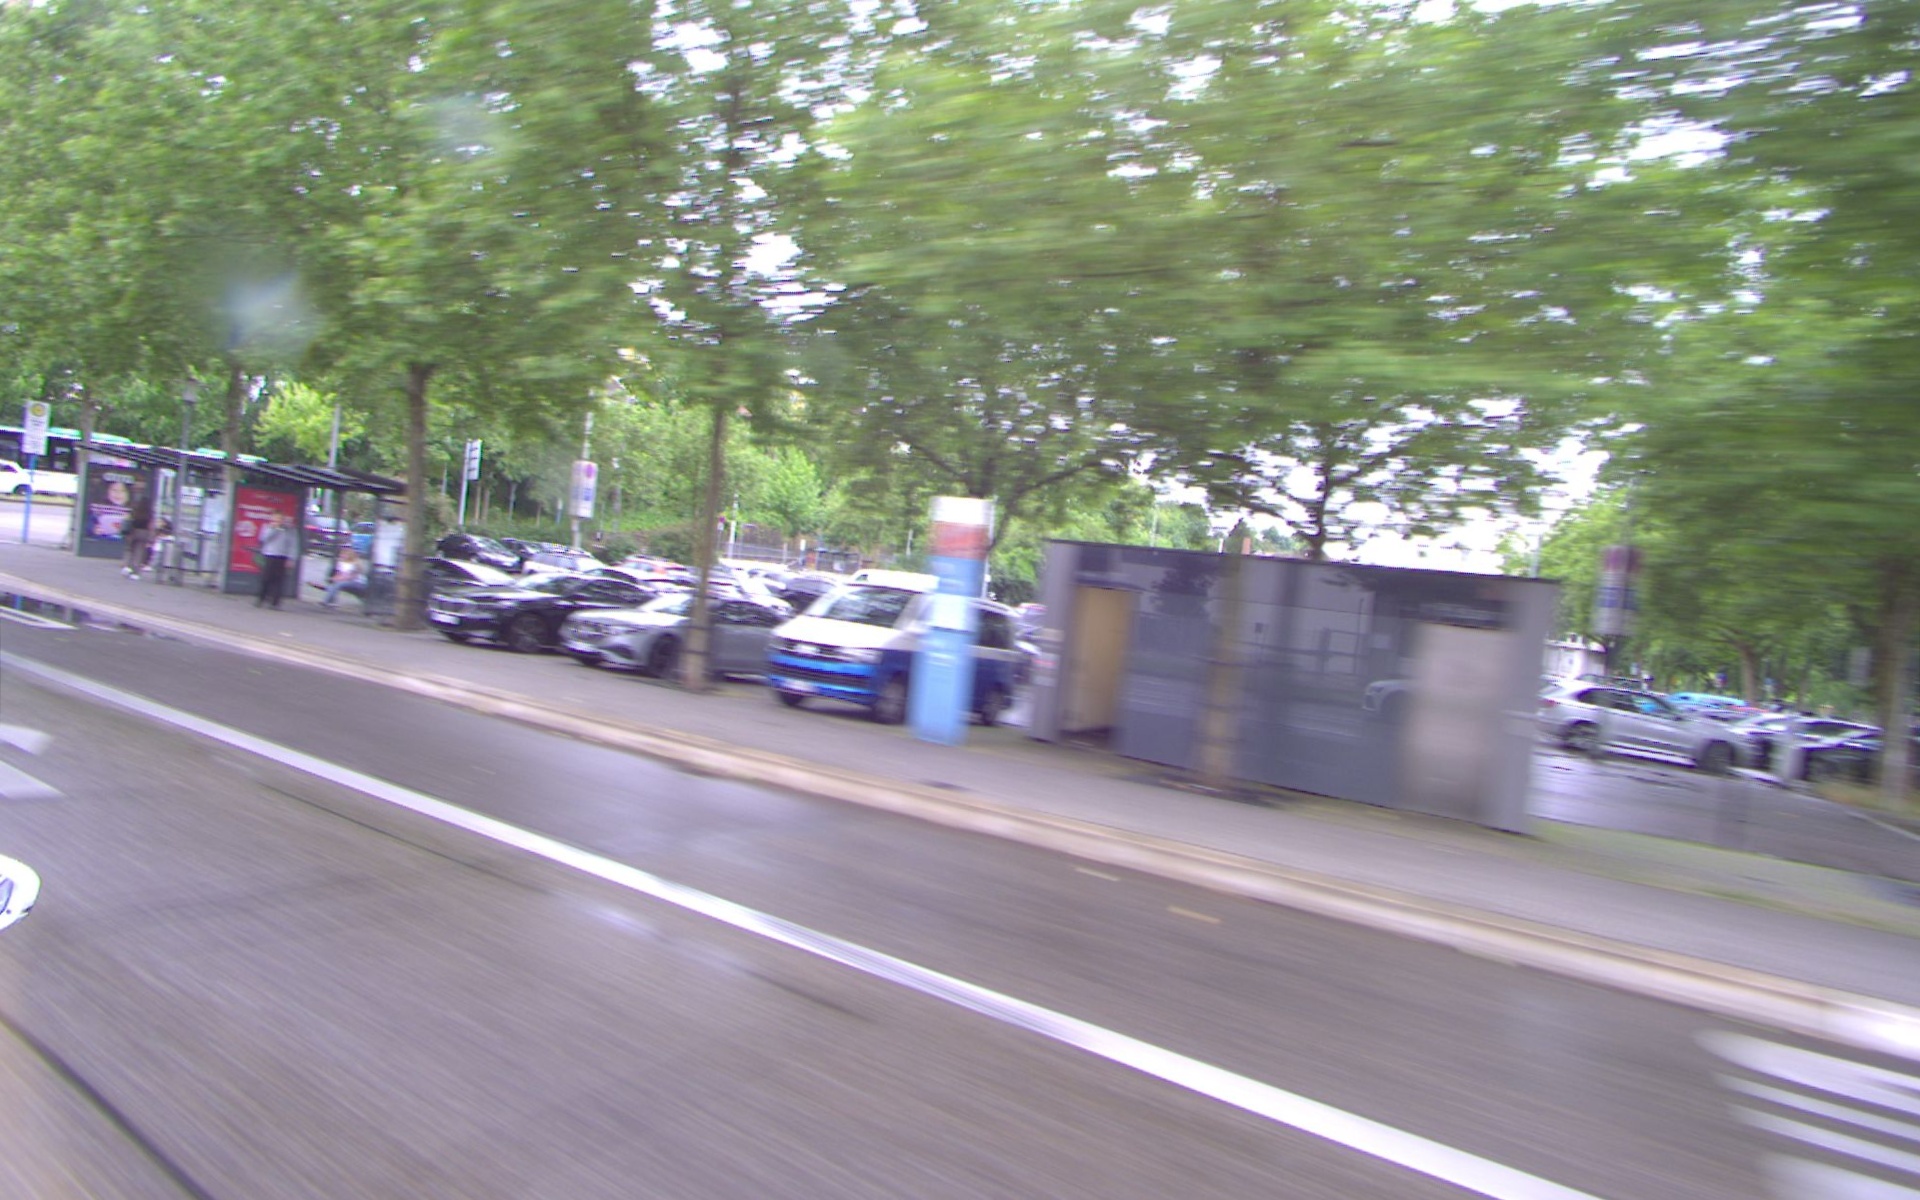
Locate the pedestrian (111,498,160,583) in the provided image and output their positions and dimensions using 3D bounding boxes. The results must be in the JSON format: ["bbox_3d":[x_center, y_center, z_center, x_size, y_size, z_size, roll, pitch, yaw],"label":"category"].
[{"bbox_3d":[-17.360,-1.252,21.188,0.534,1.717,0.551,7,2,-25],"label":"pedestrian"}]

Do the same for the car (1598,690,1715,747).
[{"bbox_3d":[27.991,4.738,40.566,3.535,1.709,1.780,7,0,28],"label":"car"}]

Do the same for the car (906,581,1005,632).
[{"bbox_3d":[-0.226,0.308,49.255,4.286,1.854,1.831,9,3,26],"label":"car"}]

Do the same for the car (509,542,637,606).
[{"bbox_3d":[-13.436,-0.907,34.901,4.103,1.611,1.759,9,3,28],"label":"car"}]

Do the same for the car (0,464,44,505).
[{"bbox_3d":[-41.268,-5.074,42.409,1.562,1.470,3.563,9,2,28],"label":"car"}]

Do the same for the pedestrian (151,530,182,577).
[{"bbox_3d":[-19.081,-1.116,24.198,0.364,1.048,0.401,9,2,31],"label":"pedestrian"}]

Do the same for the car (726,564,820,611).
[{"bbox_3d":[-8.528,-0.563,45.749,3.933,1.587,1.758,9,3,32],"label":"car"}]

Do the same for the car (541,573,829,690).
[{"bbox_3d":[-4.537,0.629,17.413,1.831,1.420,4.750,7,-3,31],"label":"car"}]

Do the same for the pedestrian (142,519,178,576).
[{"bbox_3d":[-19.441,-1.276,24.451,0.395,1.287,0.499,9,2,31],"label":"pedestrian"}]

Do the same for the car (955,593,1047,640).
[{"bbox_3d":[2.132,0.847,53.020,4.286,1.854,1.831,9,3,26],"label":"car"}]

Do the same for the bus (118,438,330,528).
[{"bbox_3d":[-38.702,-6.066,53.326,2.642,3.220,8.542,9,2,30],"label":"bus"}]

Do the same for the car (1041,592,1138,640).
[{"bbox_3d":[8.773,1.047,68.316,5.936,2.391,2.229,9,3,25],"label":"car"}]

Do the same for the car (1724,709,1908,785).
[{"bbox_3d":[25.745,4.377,30.424,3.815,1.566,1.715,7,0,29],"label":"car"}]

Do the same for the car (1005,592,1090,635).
[{"bbox_3d":[4.993,0.790,57.613,4.286,1.854,1.831,9,3,26],"label":"car"}]

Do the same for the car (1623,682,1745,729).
[{"bbox_3d":[31.559,4.569,43.996,3.976,1.441,1.639,7,0,28],"label":"car"}]

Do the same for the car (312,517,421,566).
[{"bbox_3d":[-24.490,-2.430,41.480,4.188,1.459,1.854,8,2,28],"label":"car"}]

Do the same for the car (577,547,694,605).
[{"bbox_3d":[-12.105,-0.891,37.503,3.930,1.611,1.759,9,3,28],"label":"car"}]

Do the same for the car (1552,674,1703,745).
[{"bbox_3d":[21.811,3.553,33.062,3.814,1.709,1.780,7,0,28],"label":"car"}]

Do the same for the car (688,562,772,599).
[{"bbox_3d":[-12.643,-1.069,55.231,4.188,1.459,1.854,8,2,28],"label":"car"}]

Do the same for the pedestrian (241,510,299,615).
[{"bbox_3d":[-13.020,-0.704,18.974,0.728,1.864,0.750,7,0,-37],"label":"pedestrian"}]

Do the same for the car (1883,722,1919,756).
[{"bbox_3d":[42.991,6.296,45.069,1.608,1.290,3.592,7,-1,31],"label":"car"}]

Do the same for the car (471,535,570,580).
[{"bbox_3d":[-20.173,-1.943,46.145,4.188,1.499,1.854,8,2,28],"label":"car"}]

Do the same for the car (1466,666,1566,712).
[{"bbox_3d":[23.540,3.760,42.743,3.535,1.441,1.639,7,0,28],"label":"car"}]

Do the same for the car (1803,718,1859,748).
[{"bbox_3d":[47.940,7.304,55.417,1.559,1.290,3.592,7,-1,31],"label":"car"}]

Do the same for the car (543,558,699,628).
[{"bbox_3d":[-10.086,-0.210,29.844,4.366,1.459,1.736,9,3,27],"label":"car"}]

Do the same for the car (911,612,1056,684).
[{"bbox_3d":[0.614,1.238,26.371,3.296,1.439,1.639,6,0,26],"label":"car"}]

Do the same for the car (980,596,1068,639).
[{"bbox_3d":[3.513,0.961,55.102,4.286,1.724,1.831,9,3,26],"label":"car"}]

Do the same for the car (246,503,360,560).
[{"bbox_3d":[-25.511,-2.665,39.037,4.188,1.633,1.803,8,2,28],"label":"car"}]

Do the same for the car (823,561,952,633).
[{"bbox_3d":[-3.089,-0.144,42.626,4.922,2.350,1.970,9,3,25],"label":"car"}]

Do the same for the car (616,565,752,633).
[{"bbox_3d":[-8.829,-0.039,32.168,3.930,1.611,1.759,9,3,28],"label":"car"}]

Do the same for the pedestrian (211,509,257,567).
[{"bbox_3d":[-22.419,-1.907,31.068,0.846,1.653,0.766,9,2,30],"label":"pedestrian"}]

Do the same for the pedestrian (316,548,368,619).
[{"bbox_3d":[-12.523,-0.337,20.386,0.617,1.338,0.630,7,0,42],"label":"pedestrian"}]

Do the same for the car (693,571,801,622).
[{"bbox_3d":[-7.318,-0.113,34.491,3.296,1.252,1.529,9,3,28],"label":"car"}]

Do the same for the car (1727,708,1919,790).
[{"bbox_3d":[24.153,4.115,28.209,3.815,1.566,1.780,7,0,29],"label":"car"}]

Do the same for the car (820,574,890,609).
[{"bbox_3d":[-6.752,-0.550,64.478,4.199,1.697,1.849,8,2,39],"label":"car"}]

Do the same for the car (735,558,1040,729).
[{"bbox_3d":[-0.843,0.778,15.038,1.918,1.964,4.847,7,-3,31],"label":"car"}]

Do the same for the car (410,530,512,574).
[{"bbox_3d":[-22.158,-2.121,44.644,4.188,1.372,1.854,8,1,28],"label":"car"}]

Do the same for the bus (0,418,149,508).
[{"bbox_3d":[-43.190,-6.549,45.492,2.658,3.257,9.641,9,1,29],"label":"bus"}]

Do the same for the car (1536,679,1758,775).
[{"bbox_3d":[17.535,3.194,25.966,4.367,1.709,1.780,7,0,28],"label":"car"}]

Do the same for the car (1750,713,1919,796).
[{"bbox_3d":[23.174,4.018,26.112,3.815,1.525,1.780,7,0,29],"label":"car"}]

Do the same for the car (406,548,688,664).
[{"bbox_3d":[-7.307,0.194,18.277,1.832,1.501,4.410,7,-2,31],"label":"car"}]

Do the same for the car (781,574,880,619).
[{"bbox_3d":[-5.109,-0.138,39.650,3.569,1.252,1.529,9,3,28],"label":"car"}]

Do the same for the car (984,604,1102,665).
[{"bbox_3d":[2.841,1.168,34.410,3.569,1.524,1.529,9,3,28],"label":"car"}]

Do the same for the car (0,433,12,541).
[{"bbox_3d":[-11.376,-0.756,9.499,5.450,2.115,2.104,7,0,32],"label":"car"}]
